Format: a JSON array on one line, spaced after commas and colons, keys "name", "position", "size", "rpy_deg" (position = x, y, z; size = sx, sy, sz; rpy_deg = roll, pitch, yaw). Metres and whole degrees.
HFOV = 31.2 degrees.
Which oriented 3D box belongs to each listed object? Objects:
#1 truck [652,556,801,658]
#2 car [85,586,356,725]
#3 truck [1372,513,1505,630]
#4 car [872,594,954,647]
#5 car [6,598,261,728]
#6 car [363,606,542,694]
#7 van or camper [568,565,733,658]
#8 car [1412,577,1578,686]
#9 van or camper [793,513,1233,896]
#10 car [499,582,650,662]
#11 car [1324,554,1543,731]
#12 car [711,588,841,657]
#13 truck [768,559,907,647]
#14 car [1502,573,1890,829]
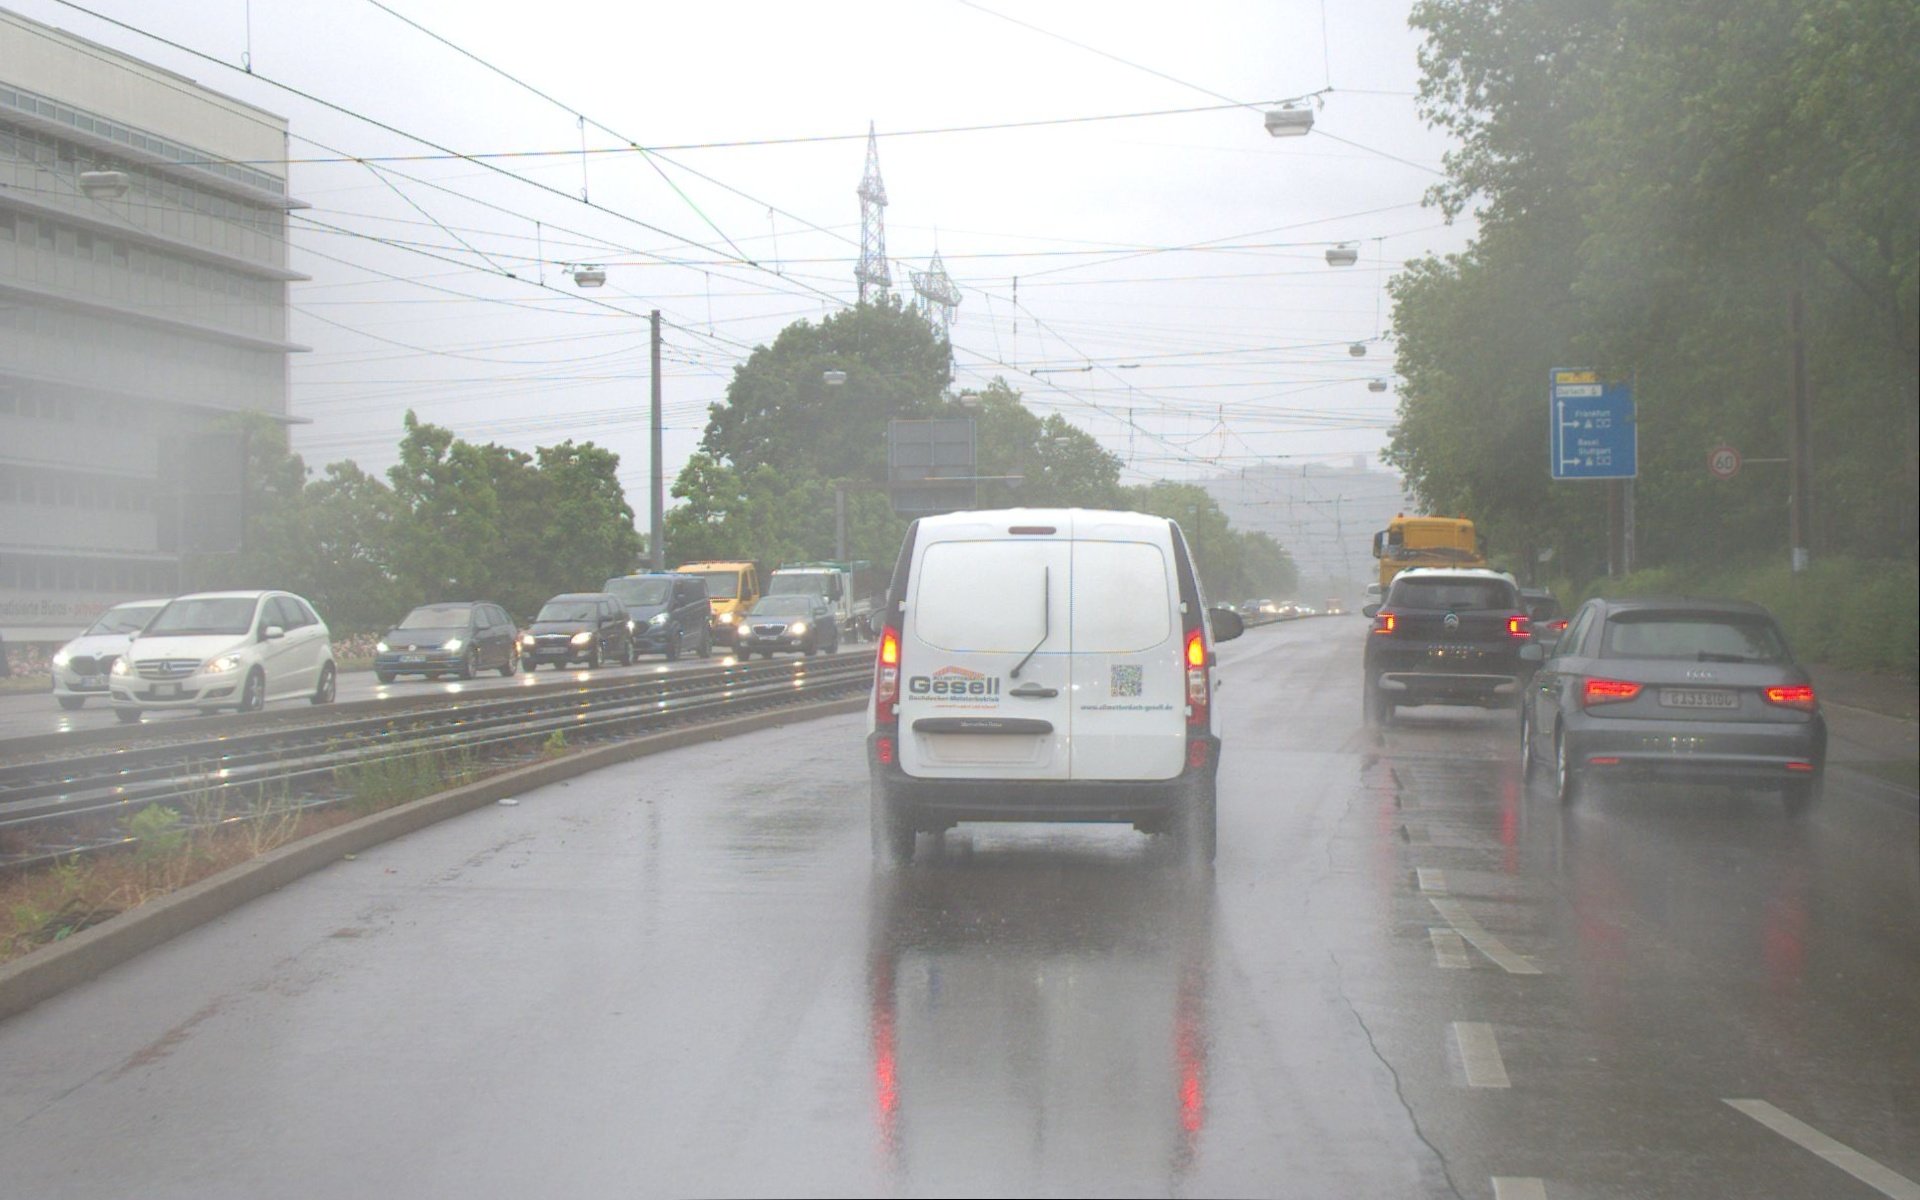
[{"name": "truck", "position": [-5.954, 0.172, 88.505], "size": [2.228, 2.453, 6.063], "rpy_deg": [2, 0, 12]}, {"name": "car", "position": [-9.355, 0.664, 43.829], "size": [1.874, 1.568, 4.326], "rpy_deg": [1, 1, 10]}, {"name": "truck", "position": [11.849, -0.698, 85.150], "size": [3.114, 2.764, 6.327], "rpy_deg": [0, 0, 8]}, {"name": "car", "position": [-1.517, 0.659, 112.648], "size": [1.772, 1.677, 4.687], "rpy_deg": [2, 0, 11]}, {"name": "car", "position": [-12.128, 0.896, 50.785], "size": [1.994, 1.828, 4.691], "rpy_deg": [-1, 0, 9]}, {"name": "car", "position": [-9.444, 0.913, 64.367], "size": [1.964, 1.511, 4.552], "rpy_deg": [-2, -1, 10]}, {"name": "van or camper", "position": [-7.066, 0.250, 79.257], "size": [2.306, 2.007, 5.683], "rpy_deg": [2, 0, 10]}, {"name": "car", "position": [7.483, 0.412, 48.352], "size": [1.818, 1.409, 3.778], "rpy_deg": [1, 1, 1]}, {"name": "van or camper", "position": [0.404, 0.449, 18.393], "size": [1.994, 1.778, 3.999], "rpy_deg": [1, 1, 6]}, {"name": "car", "position": [-8.148, 0.466, 73.108], "size": [1.859, 1.612, 4.905], "rpy_deg": [-1, -1, 10]}, {"name": "car", "position": [4.906, 0.386, 36.186], "size": [1.900, 1.711, 4.725], "rpy_deg": [1, 1, 3]}, {"name": "car", "position": [-4.152, 0.515, 78.278], "size": [1.994, 1.452, 4.670], "rpy_deg": [-2, -1, 9]}, {"name": "truck", "position": [-3.579, 0.082, 102.267], "size": [2.436, 2.449, 7.215], "rpy_deg": [2, 0, 12]}, {"name": "car", "position": [4.854, 0.604, 23.202], "size": [1.968, 1.523, 3.990], "rpy_deg": [1, 1, 4]}]
